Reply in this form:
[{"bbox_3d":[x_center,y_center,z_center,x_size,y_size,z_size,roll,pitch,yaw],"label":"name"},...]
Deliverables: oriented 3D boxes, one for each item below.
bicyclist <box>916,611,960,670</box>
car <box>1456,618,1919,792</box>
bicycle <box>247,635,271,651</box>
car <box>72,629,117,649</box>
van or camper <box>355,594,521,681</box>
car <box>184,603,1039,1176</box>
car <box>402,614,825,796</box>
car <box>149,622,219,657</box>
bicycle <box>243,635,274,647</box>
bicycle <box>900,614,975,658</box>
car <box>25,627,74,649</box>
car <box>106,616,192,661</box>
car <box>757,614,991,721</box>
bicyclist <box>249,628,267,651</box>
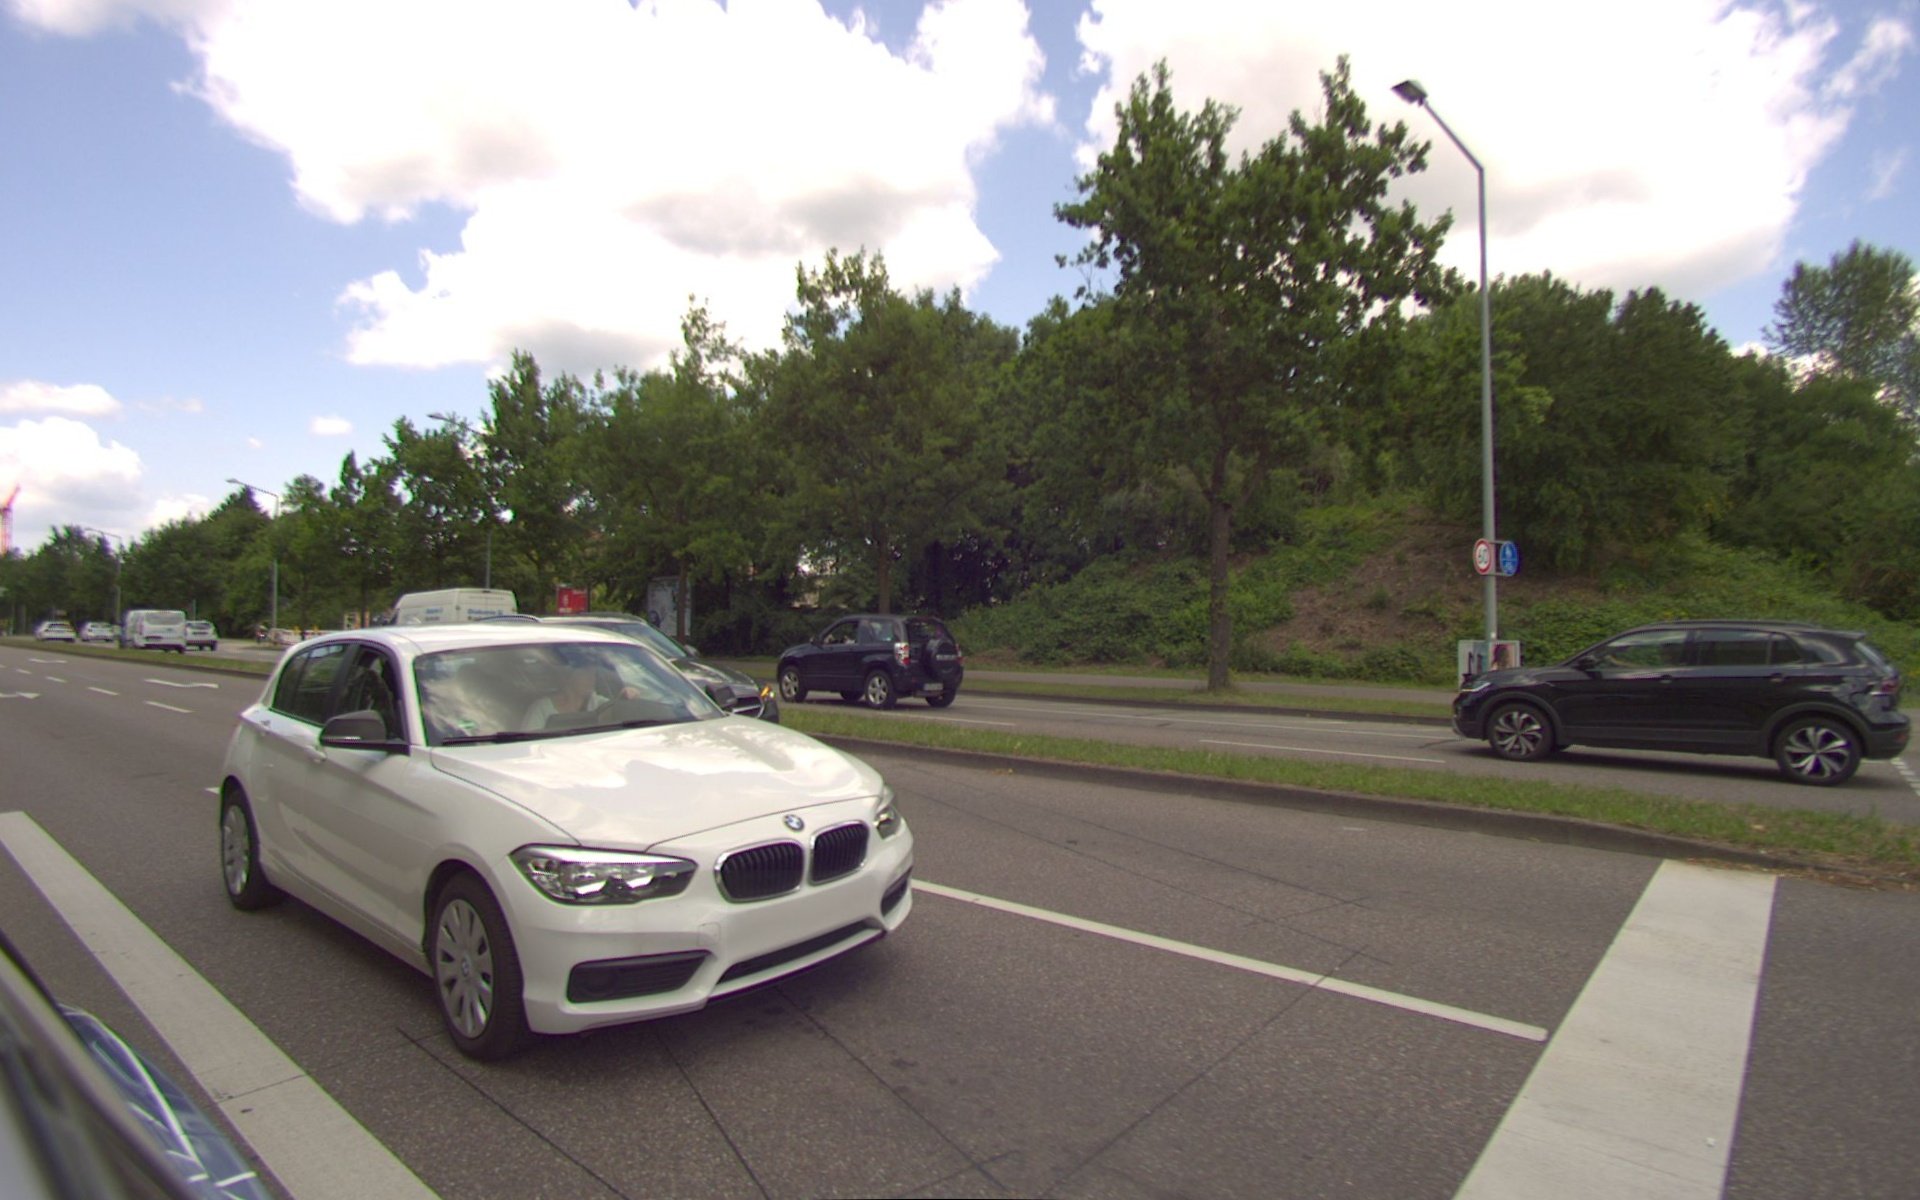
[{"bbox_3d":[-0.673,1.230,30.919,0.997,1.760,0.883,-1,-1,41],"label":"bicyclist"},{"bbox_3d":[7.794,0.990,10.942,3.999,1.541,1.905,-1,-3,42],"label":"car"},{"bbox_3d":[-50.676,3.119,73.118,2.254,1.170,0.743,-1,-3,37],"label":"bicycle"},{"bbox_3d":[-66.571,3.017,77.799,4.412,1.454,1.894,-1,-4,40],"label":"car"},{"bbox_3d":[-17.126,1.174,32.993,7.058,2.559,2.328,-2,-2,40],"label":"van or camper"},{"bbox_3d":[-1.932,0.798,4.756,4.293,1.425,1.895,-2,0,41],"label":"car"},{"bbox_3d":[-3.732,0.893,10.383,4.830,1.426,1.973,-2,-1,41],"label":"car"},{"bbox_3d":[-43.023,2.182,56.075,4.402,1.815,1.975,-1,-3,38],"label":"car"},{"bbox_3d":[-59.382,3.453,85.655,2.117,1.023,0.665,1,-2,-4],"label":"bicycle"},{"bbox_3d":[-0.696,1.092,30.924,2.392,1.280,0.813,-1,-1,42],"label":"bicycle"},{"bbox_3d":[-64.136,2.668,71.243,5.022,1.442,1.972,-1,-3,42],"label":"car"},{"bbox_3d":[-38.201,1.803,47.618,5.189,1.979,2.168,-2,-3,40],"label":"car"},{"bbox_3d":[-1.680,1.182,18.896,4.217,1.780,1.973,-1,-3,40],"label":"car"},{"bbox_3d":[-50.745,2.861,73.176,0.979,1.671,0.731,-2,-3,37],"label":"bicyclist"}]
